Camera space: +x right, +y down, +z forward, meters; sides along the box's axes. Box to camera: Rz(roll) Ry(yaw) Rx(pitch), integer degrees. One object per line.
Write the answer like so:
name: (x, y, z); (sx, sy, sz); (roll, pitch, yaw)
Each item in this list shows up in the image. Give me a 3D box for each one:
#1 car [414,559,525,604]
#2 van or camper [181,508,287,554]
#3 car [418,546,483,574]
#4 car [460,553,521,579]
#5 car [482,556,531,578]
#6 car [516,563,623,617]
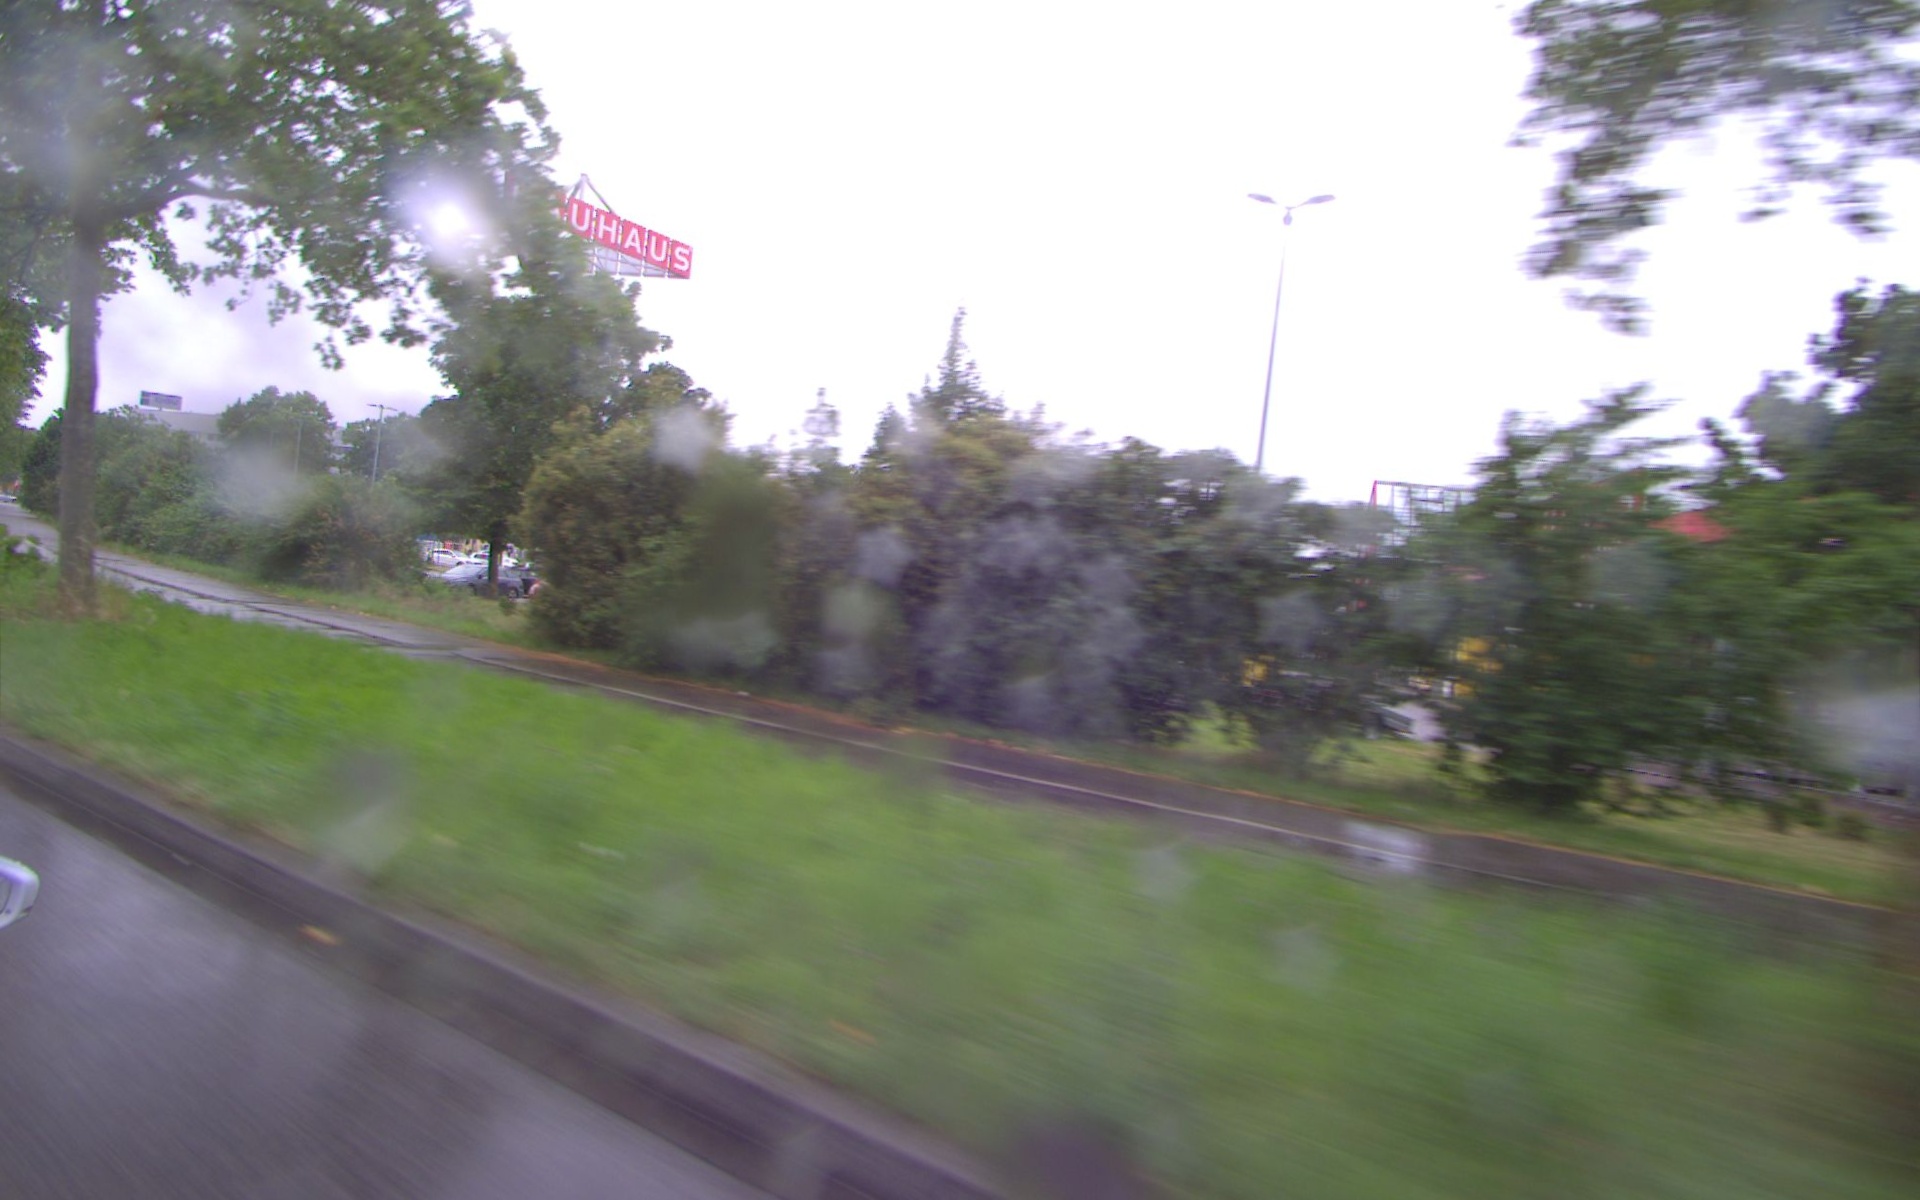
car: (-19.328, -0.685, 39.875); (1.721, 1.387, 4.298); (7, -1, 8)
van or camper: (-56.750, -5.372, 78.748); (1.974, 2.573, 6.350); (6, -2, 44)
car: (-38.445, -2.989, 75.912); (3.997, 1.496, 1.787); (7, -1, 12)
car: (-37.685, -2.727, 80.755); (3.997, 1.496, 1.787); (7, -1, 12)
car: (-43.991, -3.181, 97.600); (3.997, 1.496, 1.787); (7, -1, 12)
car: (-15.133, -0.343, 39.282); (1.721, 1.694, 4.298); (7, -1, 11)
